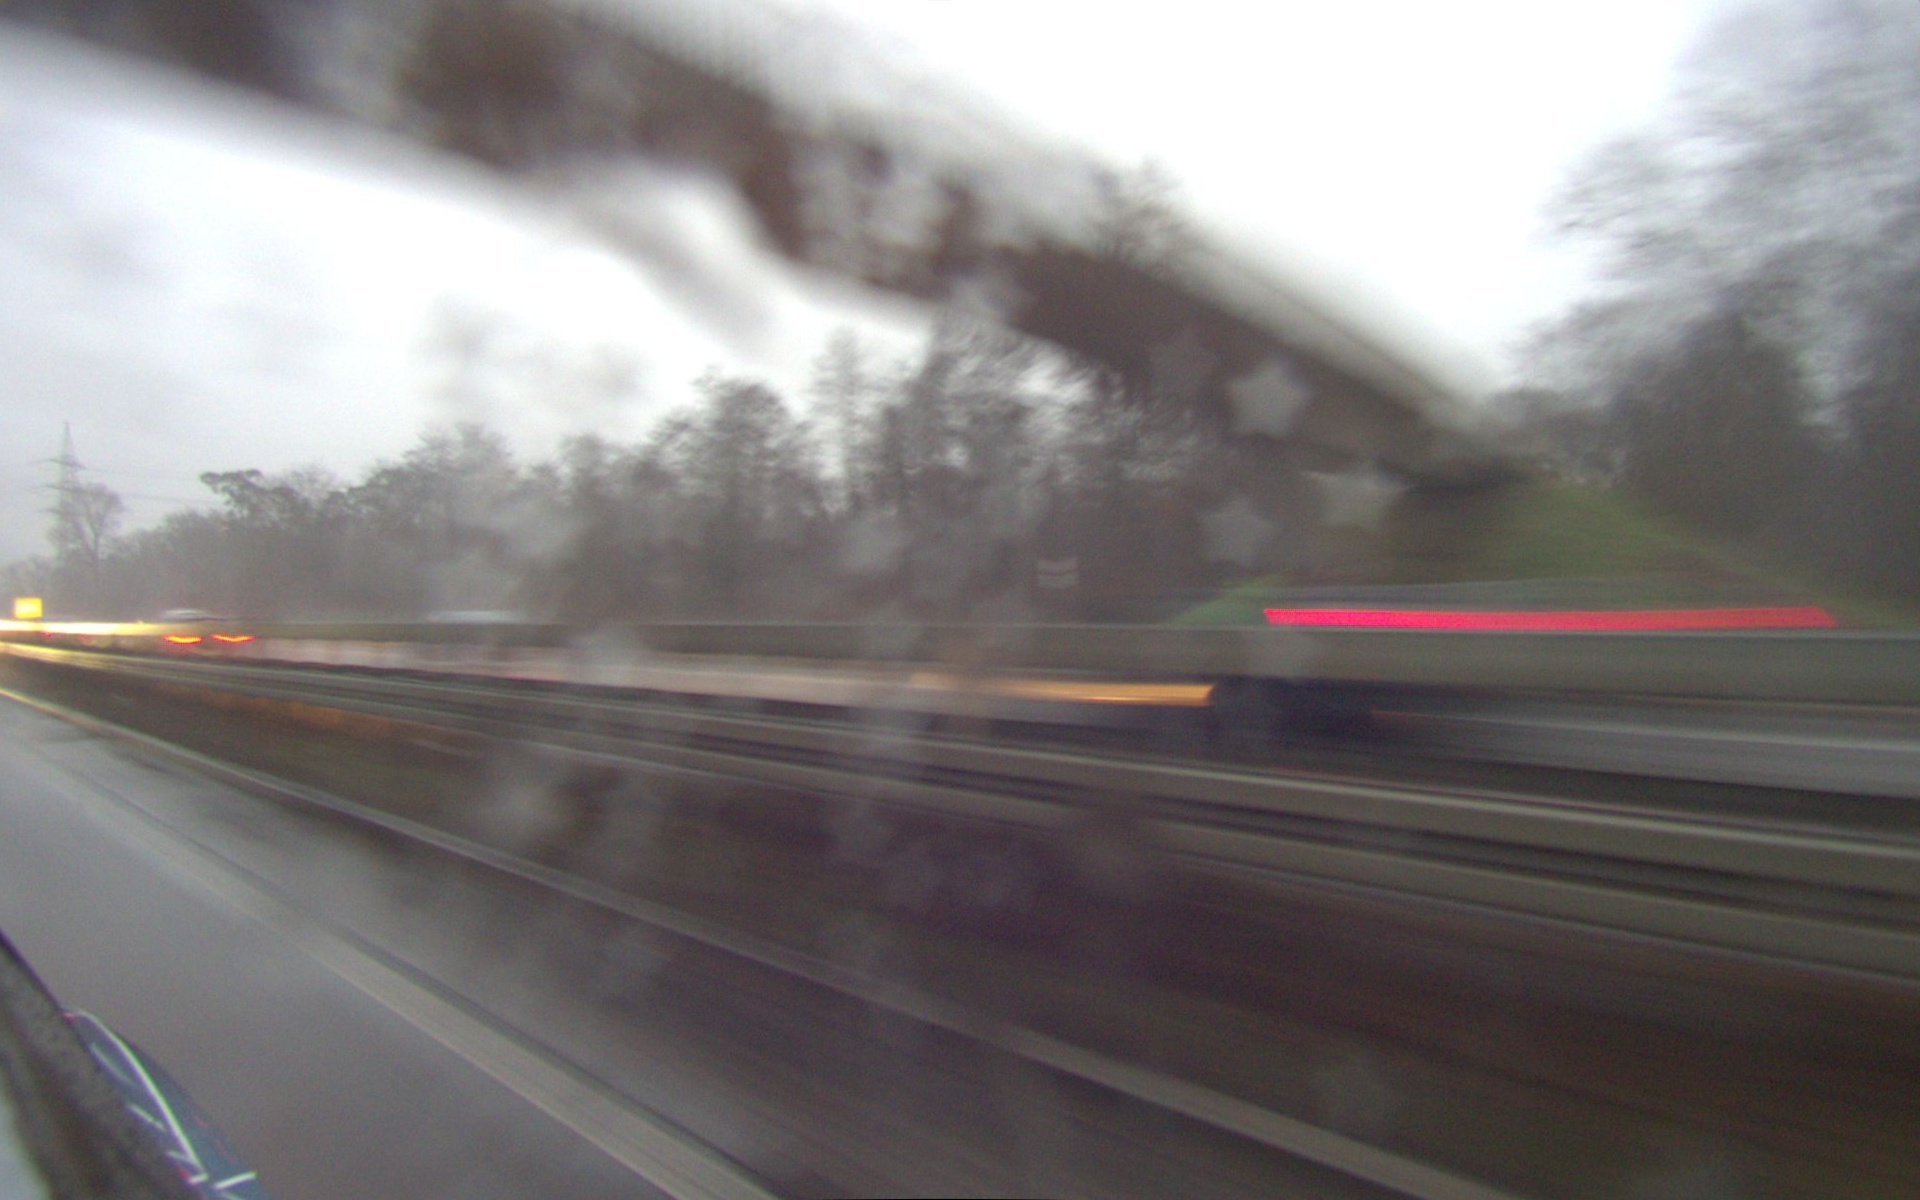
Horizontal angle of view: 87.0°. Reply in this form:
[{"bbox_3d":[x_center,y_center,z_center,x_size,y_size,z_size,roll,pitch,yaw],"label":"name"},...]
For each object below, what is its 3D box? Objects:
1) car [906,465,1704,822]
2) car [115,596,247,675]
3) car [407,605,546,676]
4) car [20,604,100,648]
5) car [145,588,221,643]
[{"bbox_3d":[2.160,0.228,7.486,5.257,1.781,1.885,-1,1,41],"label":"car"},{"bbox_3d":[-19.811,0.849,25.664,4.614,1.781,1.716,-1,1,41],"label":"car"},{"bbox_3d":[-12.157,0.956,25.337,3.999,1.619,1.761,-1,0,42],"label":"car"},{"bbox_3d":[-38.379,1.102,43.087,5.365,1.729,1.972,-2,0,42],"label":"car"},{"bbox_3d":[-36.080,0.701,46.937,4.677,2.430,1.972,-1,0,42],"label":"car"}]
